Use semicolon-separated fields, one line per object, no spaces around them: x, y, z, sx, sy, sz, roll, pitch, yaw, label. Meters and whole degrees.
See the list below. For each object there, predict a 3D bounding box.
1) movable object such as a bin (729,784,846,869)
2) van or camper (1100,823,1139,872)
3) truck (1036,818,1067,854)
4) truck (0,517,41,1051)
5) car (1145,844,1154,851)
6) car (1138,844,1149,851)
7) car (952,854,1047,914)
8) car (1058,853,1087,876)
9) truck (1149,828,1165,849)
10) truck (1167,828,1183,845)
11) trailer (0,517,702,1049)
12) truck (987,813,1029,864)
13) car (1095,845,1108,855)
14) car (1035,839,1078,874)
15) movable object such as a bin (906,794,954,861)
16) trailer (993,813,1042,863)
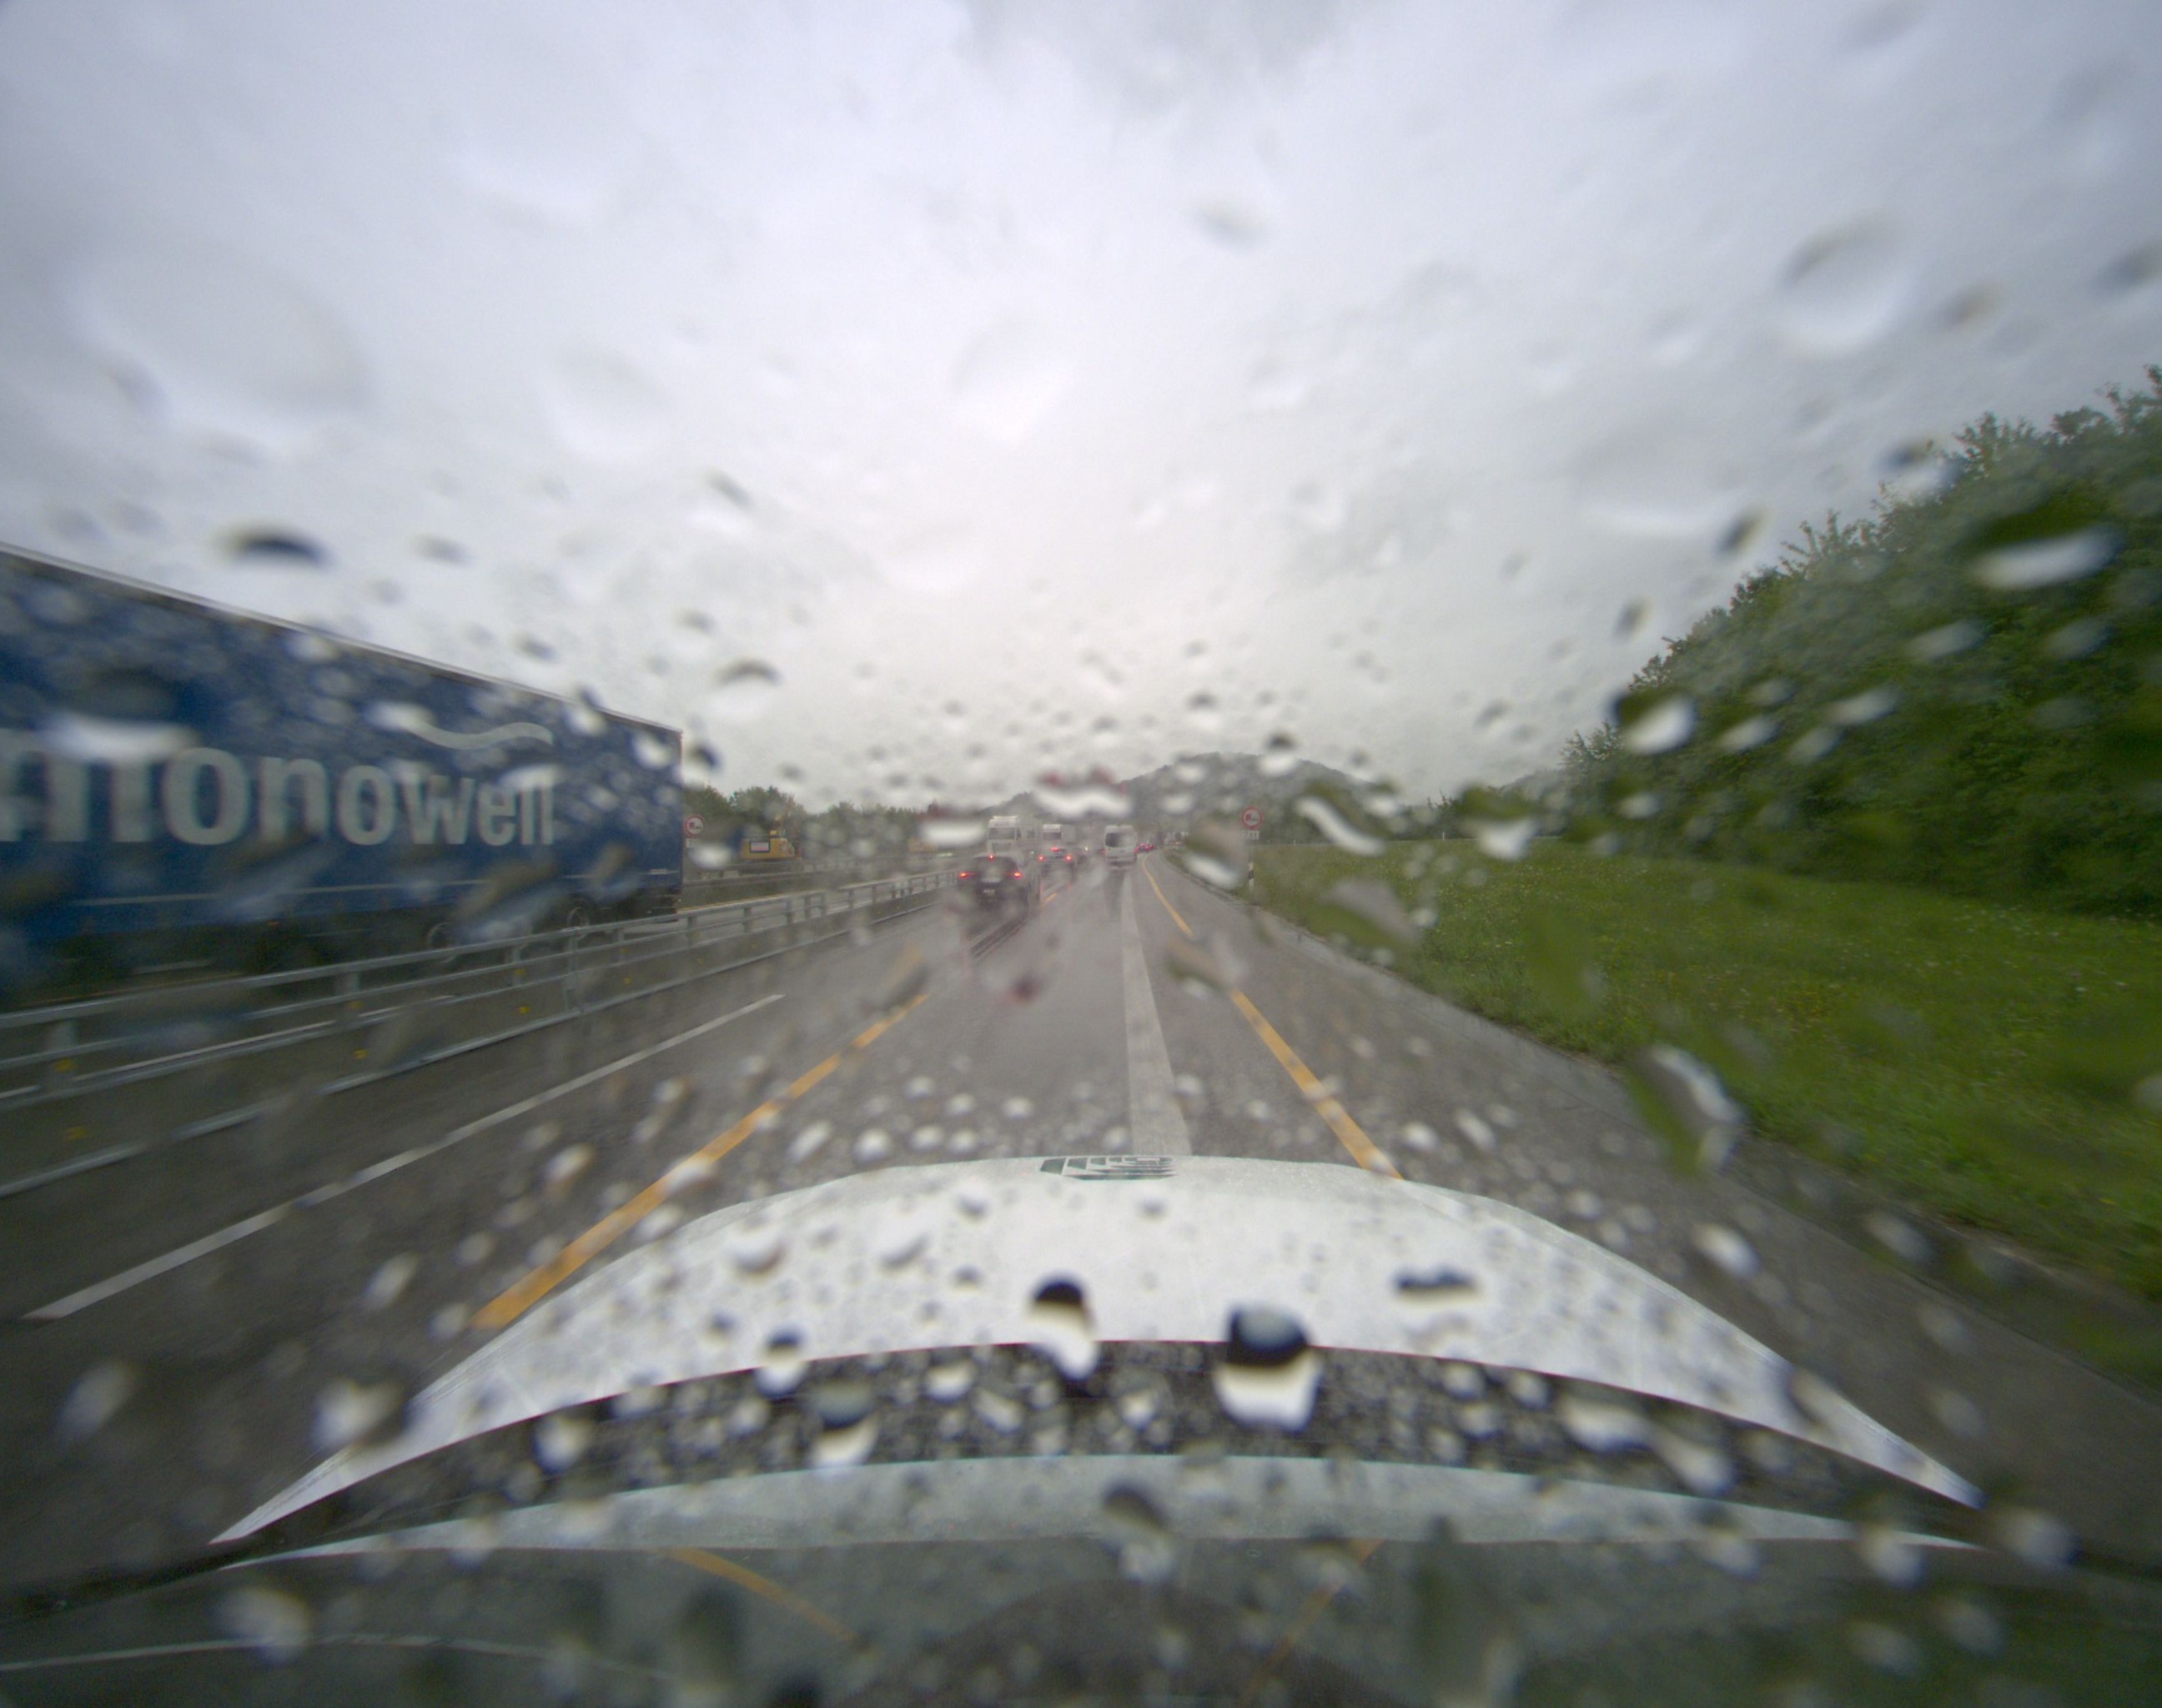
-22.075;-1.949;62.258;4.151;5.914;11.060;0;0;5;movable object such as a bin
2.224;-0.378;48.252;2.132;2.721;4.648;-1;0;0;van or camper
-3.478;-2.168;98.341;2.871;4.101;6.934;-1;1;4;truck
-9.747;-0.471;3.137;2.612;4.081;6.675;-1;1;3;truck
12.334;-1.220;146.783;1.379;1.256;3.125;-1;0;3;car
9.467;-1.022;123.971;1.380;1.078;3.122;-1;0;0;car
-2.100;0.744;22.400;1.931;1.427;4.763;-1;0;2;car
-0.572;0.706;56.992;1.846;1.500;4.001;-1;0;1;car
17.458;-3.462;185.875;3.303;4.784;9.926;0;0;7;truck
28.521;-5.330;246.501;3.903;4.784;9.939;0;1;11;truck
-9.366;-0.555;10.455;2.589;4.077;12.441;-1;0;3;trailer
-6.008;-1.297;68.182;2.472;4.030;6.456;-1;1;4;truck
2.216;-0.417;86.962;1.257;1.078;3.257;-1;0;3;car
-1.202;0.117;41.916;1.859;1.659;3.991;-1;0;3;car
-19.135;-3.263;103.832;3.577;8.143;8.324;0;0;7;movable object such as a bin
-5.587;-1.467;73.954;2.483;4.048;12.602;-2;1;4;trailer
